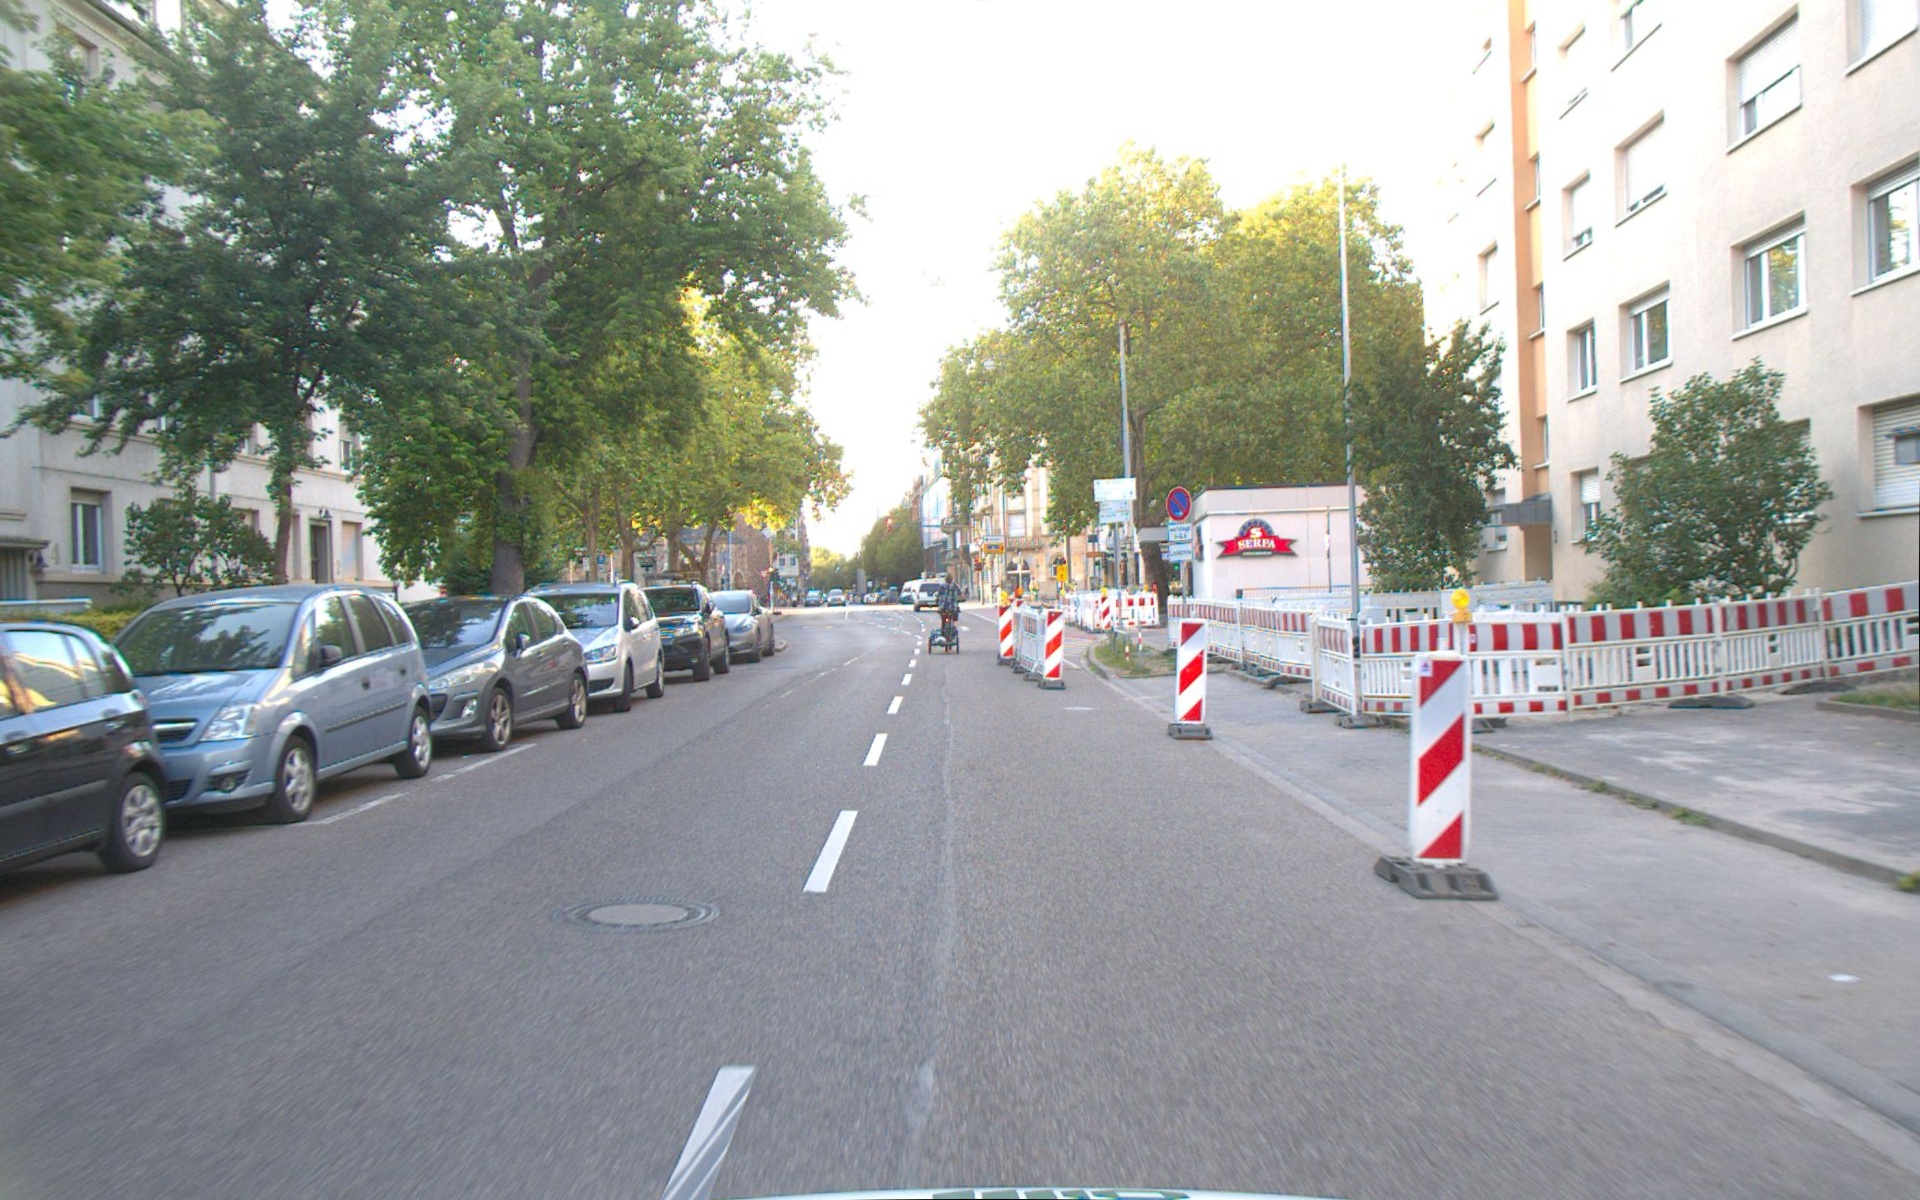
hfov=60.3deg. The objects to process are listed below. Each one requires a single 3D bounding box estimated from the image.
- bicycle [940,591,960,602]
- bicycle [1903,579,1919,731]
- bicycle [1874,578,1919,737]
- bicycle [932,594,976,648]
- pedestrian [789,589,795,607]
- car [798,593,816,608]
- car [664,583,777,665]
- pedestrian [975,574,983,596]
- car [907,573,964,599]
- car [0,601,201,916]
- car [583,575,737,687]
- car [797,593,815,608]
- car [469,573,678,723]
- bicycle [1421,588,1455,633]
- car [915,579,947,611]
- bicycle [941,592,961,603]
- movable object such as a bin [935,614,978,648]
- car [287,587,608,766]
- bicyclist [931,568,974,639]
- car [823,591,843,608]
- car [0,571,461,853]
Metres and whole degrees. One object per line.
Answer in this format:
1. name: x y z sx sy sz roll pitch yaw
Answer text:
1. bicycle: -0.912 -0.324 157.642 1.876 0.985 0.545 -2 0 -3
2. bicycle: 8.032 0.449 12.704 0.390 1.243 1.910 -1 0 -2
3. bicycle: 7.764 0.450 12.610 0.442 1.243 1.910 -1 0 -2
4. bicycle: -0.159 0.486 39.952 0.920 1.192 2.358 -4 0 -2
5. pedestrian: -18.943 -0.227 186.456 0.581 1.919 0.553 -1 0 2
6. car: -18.326 0.055 197.917 1.956 1.680 3.814 0 0 -9
7. car: -5.394 0.496 37.801 1.914 1.644 4.604 -4 0 -1
8. pedestrian: 1.697 -1.337 147.933 0.581 1.919 0.647 -1 0 1
9. car: -2.403 -1.399 164.134 5.779 2.327 2.039 -2 1 -44
10. car: -5.425 0.827 7.964 1.673 1.477 3.843 -5 0 0
11. car: -5.331 0.504 29.962 1.914 1.748 4.770 -4 0 -1
12. car: -17.720 0.060 190.187 1.956 1.680 3.814 0 0 -9
13. car: -5.151 0.577 22.710 1.810 1.720 4.857 -4 0 -2
14. bicycle: 10.913 0.234 37.768 0.533 0.985 1.814 -1 0 22
15. car: -1.829 -0.323 101.814 1.828 1.846 3.998 -2 0 -2
16. bicycle: -0.886 -0.208 157.922 1.876 0.985 0.545 -2 0 -3
17. movable object such as a bin: -0.085 0.722 38.287 0.920 0.701 0.993 -4 0 -2
18. car: -5.144 0.681 17.249 1.696 1.523 4.272 -4 0 4
19. bicyclist: -0.189 0.082 39.973 0.920 1.609 1.146 -4 0 -2
20. car: -12.951 -0.030 168.461 1.748 1.680 3.814 0 0 -8
21. car: -5.255 0.692 12.443 1.673 1.628 4.116 -5 0 -1
